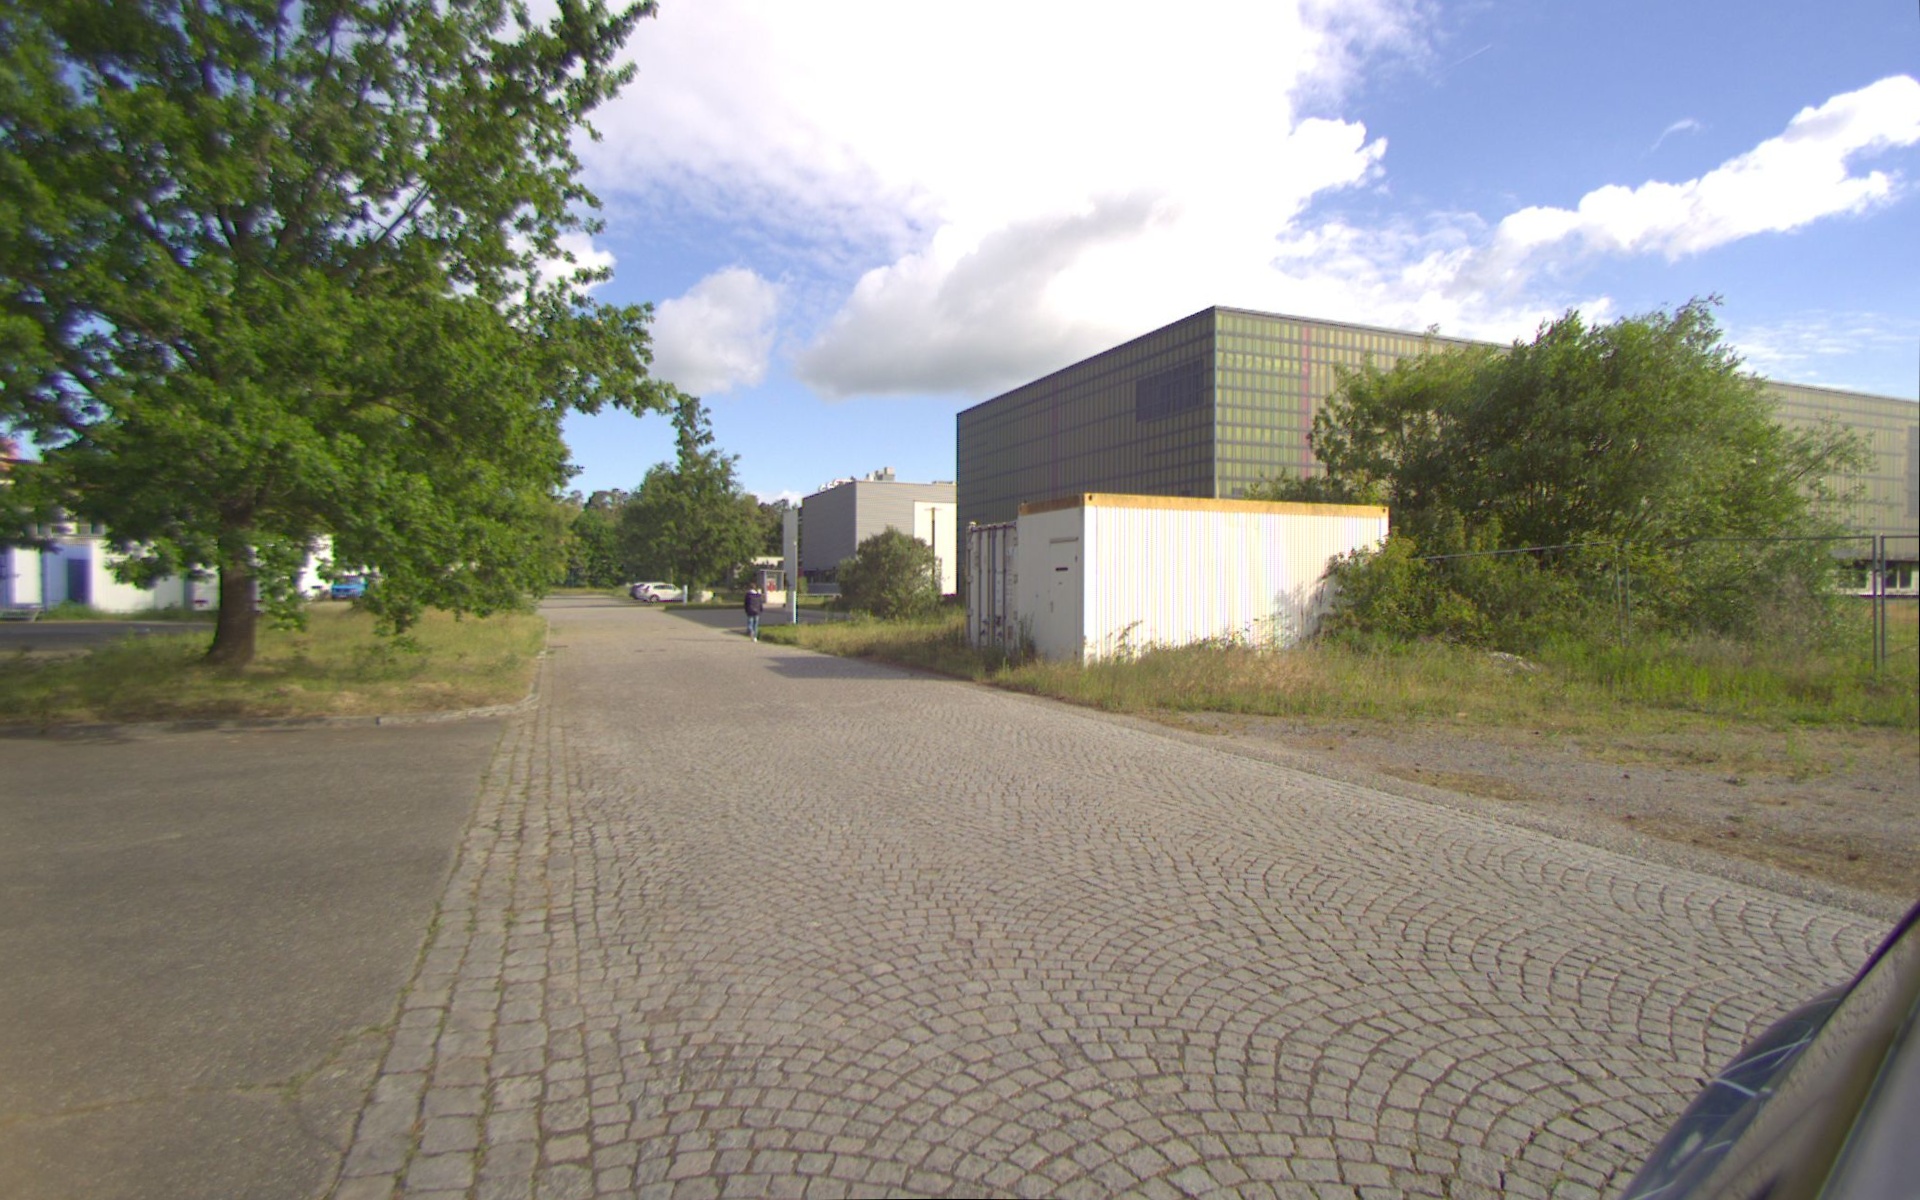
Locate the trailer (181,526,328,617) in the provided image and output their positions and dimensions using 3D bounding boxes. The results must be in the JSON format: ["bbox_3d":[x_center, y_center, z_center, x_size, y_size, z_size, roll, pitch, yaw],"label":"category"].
[{"bbox_3d":[-30.504,-1.173,44.301,2.865,3.514,9.922,0,1,-20],"label":"trailer"}]

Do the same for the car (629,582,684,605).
[{"bbox_3d":[-23.203,-0.514,77.384,3.916,1.663,2.004,0,1,-17],"label":"car"}]

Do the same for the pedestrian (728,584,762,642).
[{"bbox_3d":[-5.979,0.338,28.159,0.849,1.578,1.030,0,0,-16],"label":"pedestrian"}]

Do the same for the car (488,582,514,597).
[{"bbox_3d":[-43.225,-1.007,95.189,1.959,1.388,4.005,0,1,-28],"label":"car"}]

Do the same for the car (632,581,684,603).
[{"bbox_3d":[-23.855,-0.617,79.942,3.916,1.663,2.004,0,1,-17],"label":"car"}]
